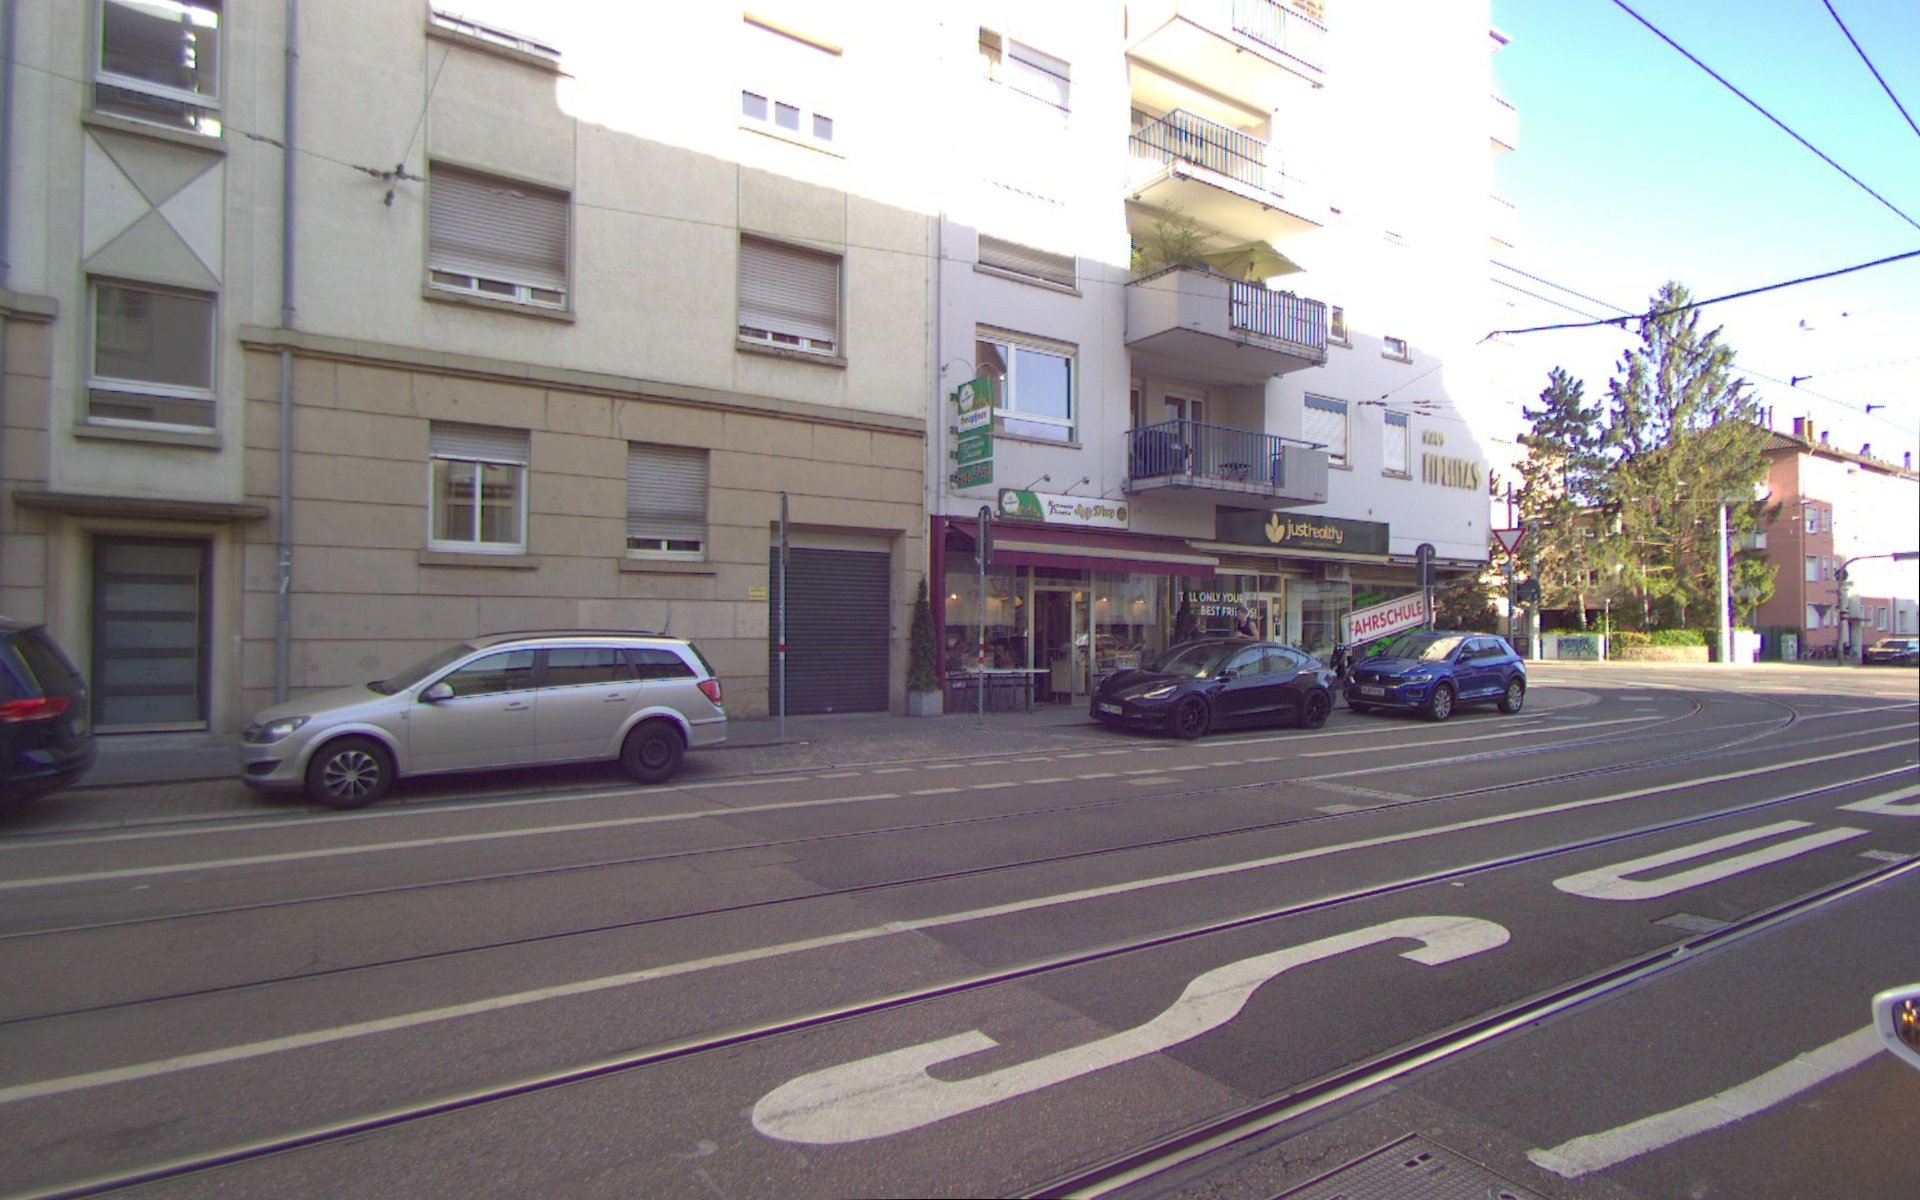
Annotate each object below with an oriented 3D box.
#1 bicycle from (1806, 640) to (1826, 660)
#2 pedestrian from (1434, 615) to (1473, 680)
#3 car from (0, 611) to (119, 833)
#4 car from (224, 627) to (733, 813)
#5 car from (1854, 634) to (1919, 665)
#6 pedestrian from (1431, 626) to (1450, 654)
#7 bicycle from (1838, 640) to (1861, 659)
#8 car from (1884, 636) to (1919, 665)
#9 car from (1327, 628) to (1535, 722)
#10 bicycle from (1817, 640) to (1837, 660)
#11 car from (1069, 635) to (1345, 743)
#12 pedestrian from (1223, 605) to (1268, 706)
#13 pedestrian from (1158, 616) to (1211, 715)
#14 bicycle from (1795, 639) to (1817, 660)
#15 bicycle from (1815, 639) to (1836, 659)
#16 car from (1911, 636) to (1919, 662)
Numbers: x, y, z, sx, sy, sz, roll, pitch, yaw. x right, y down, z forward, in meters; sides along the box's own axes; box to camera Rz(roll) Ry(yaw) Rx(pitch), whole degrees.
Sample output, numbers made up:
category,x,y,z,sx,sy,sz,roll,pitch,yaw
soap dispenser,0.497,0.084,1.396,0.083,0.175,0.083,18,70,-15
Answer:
category,x,y,z,sx,sy,sz,roll,pitch,yaw
bicycle,47.177,2.738,55.336,1.895,1.097,0.532,2,-2,-41
pedestrian,14.167,1.357,28.834,0.707,1.859,0.771,0,-1,-3
car,-8.997,0.876,7.188,4.343,1.620,1.785,1,-1,-34
car,-4.709,1.047,10.210,4.343,1.497,1.785,1,-1,-34
car,49.724,2.620,53.778,3.961,1.539,1.938,1,-2,-36
pedestrian,29.403,2.434,61.496,0.672,1.725,0.805,1,-2,-30
bicycle,53.157,2.942,60.021,1.892,1.097,0.605,1,-2,-37
car,54.273,2.845,57.008,4.006,1.539,1.938,1,-2,-36
car,8.989,1.344,19.080,4.072,1.525,1.714,1,1,-34
bicycle,47.605,2.750,55.160,1.895,1.097,0.532,2,-2,-41
car,4.010,1.314,16.038,4.442,1.422,1.714,1,1,-34
pedestrian,5.511,1.058,19.395,0.660,1.882,0.752,-1,-2,31
pedestrian,4.003,1.152,17.933,0.722,1.731,0.600,1,-2,-32
bicycle,46.882,2.728,55.628,1.895,1.097,0.634,2,-2,-41
bicycle,50.740,2.864,58.876,1.892,1.097,0.533,1,-2,-37
car,58.127,2.902,59.447,3.961,1.539,1.938,1,-2,-36
